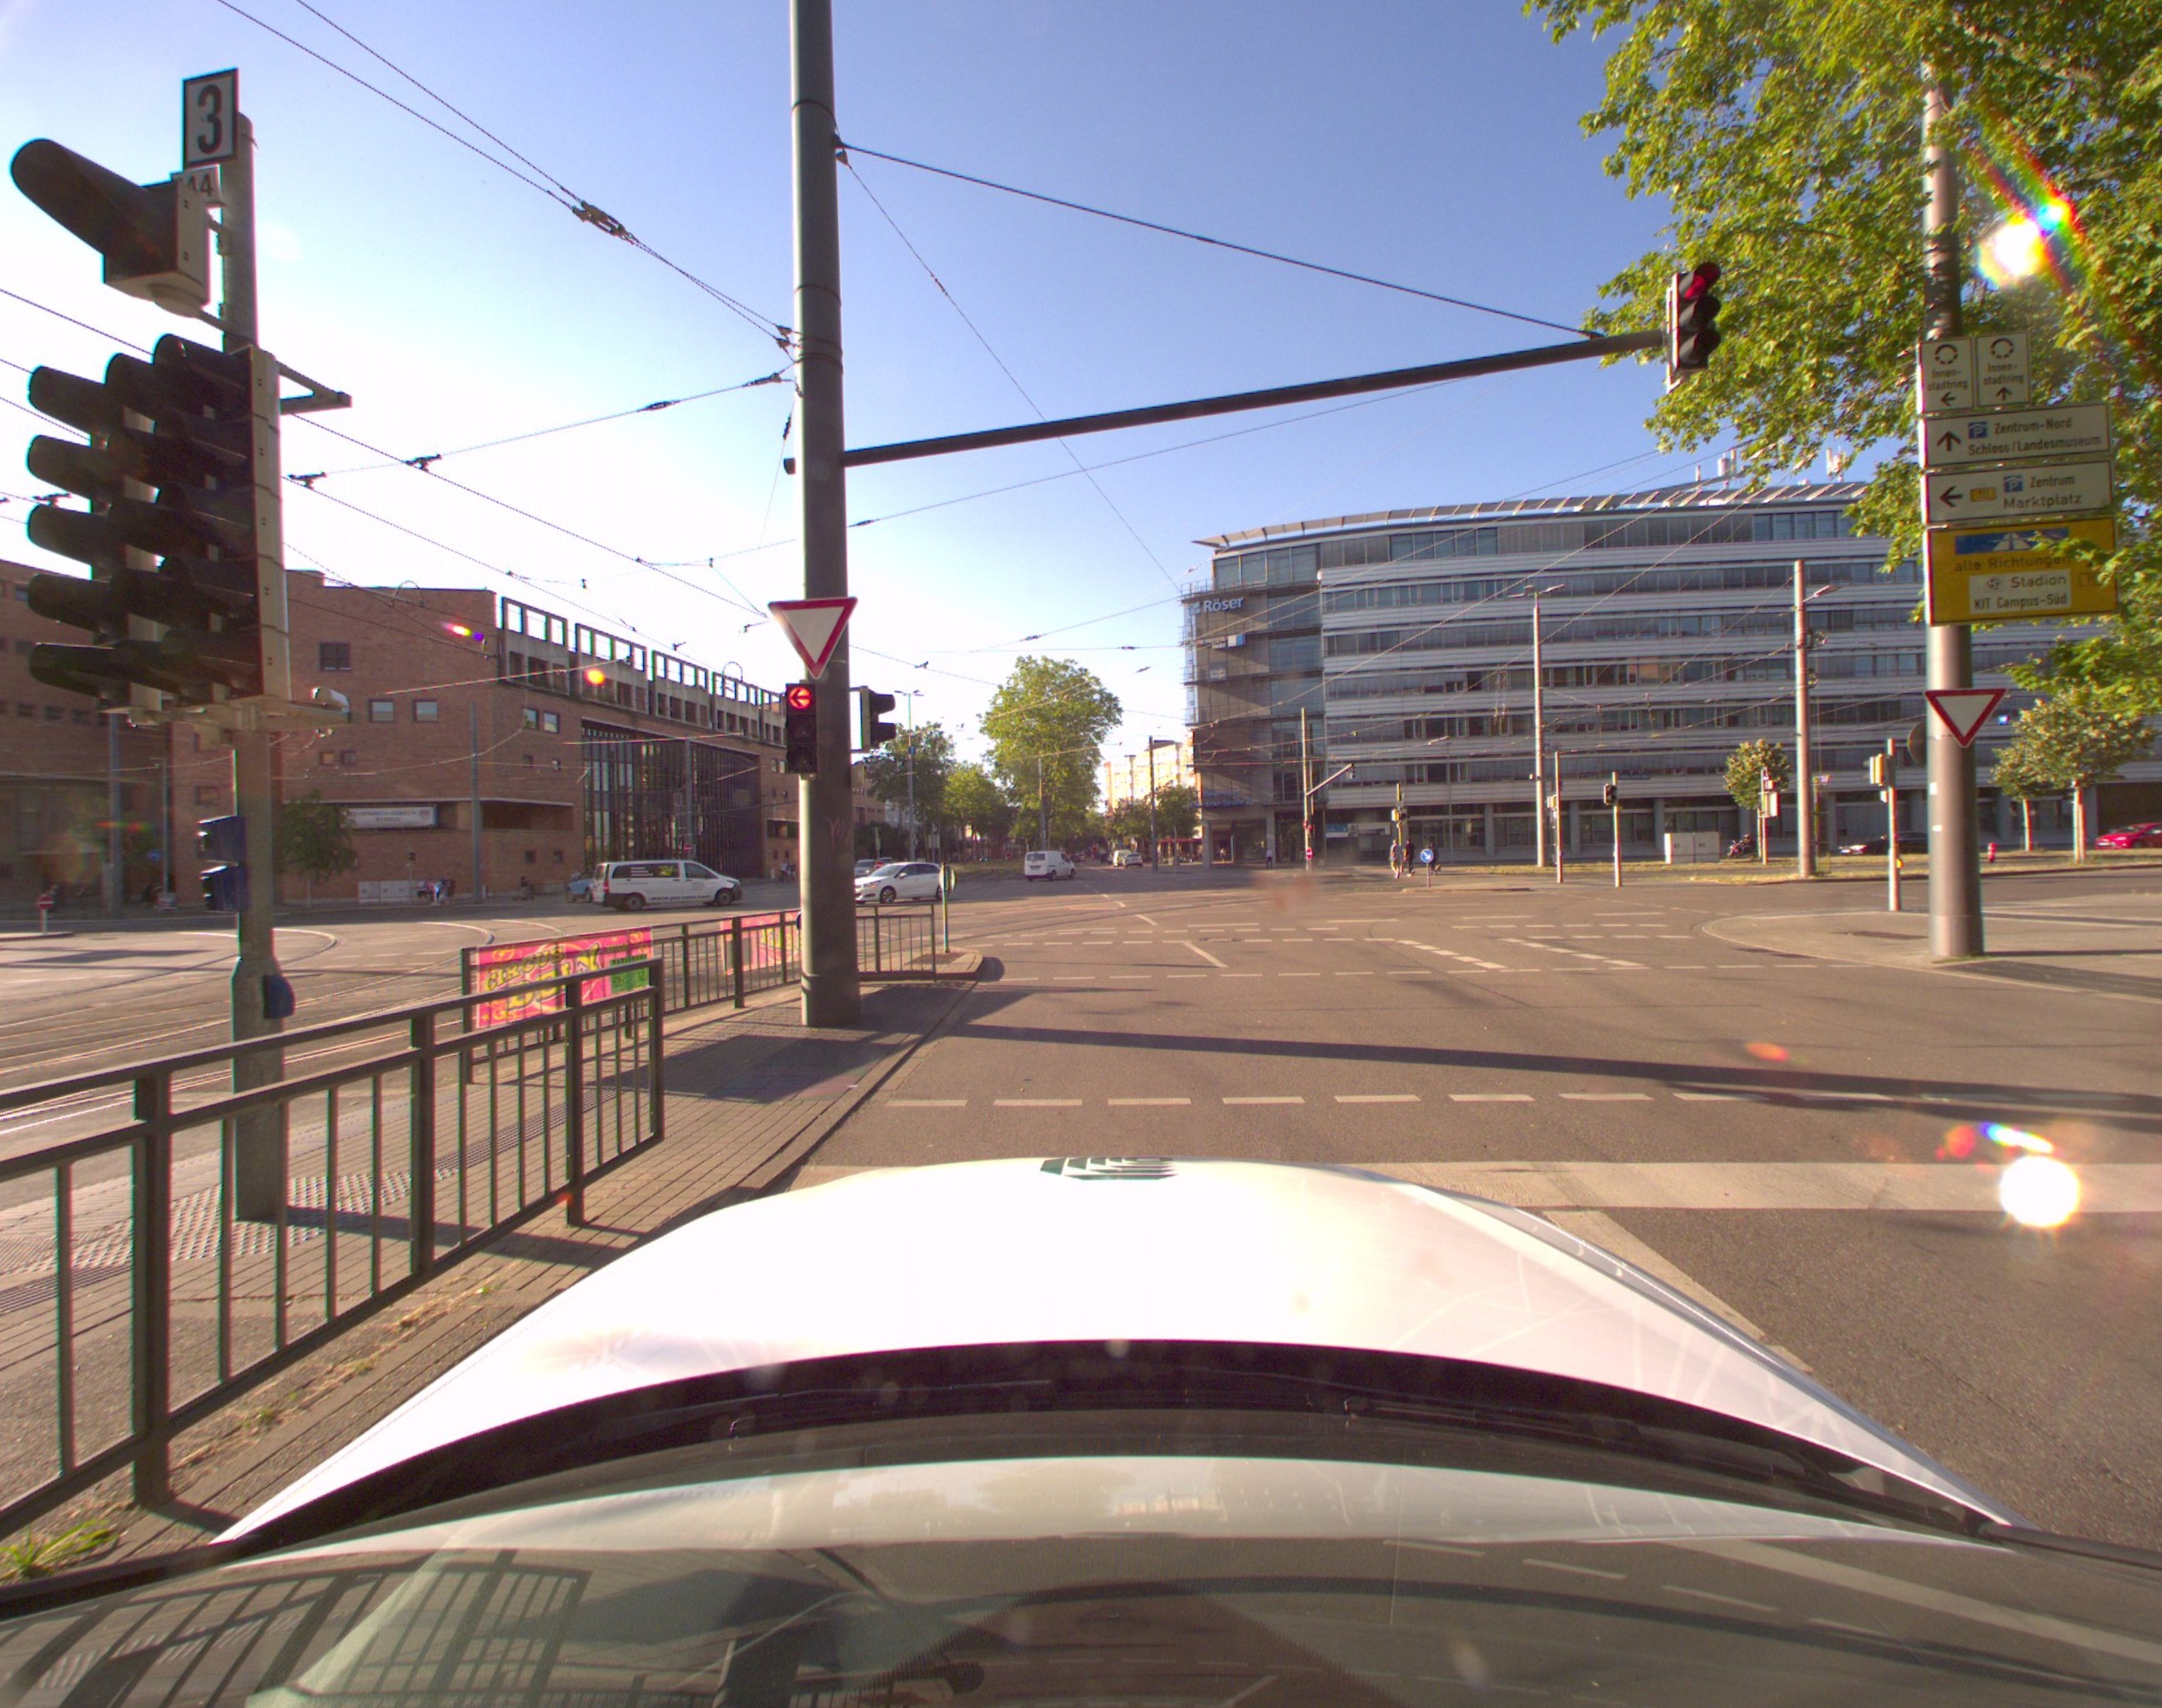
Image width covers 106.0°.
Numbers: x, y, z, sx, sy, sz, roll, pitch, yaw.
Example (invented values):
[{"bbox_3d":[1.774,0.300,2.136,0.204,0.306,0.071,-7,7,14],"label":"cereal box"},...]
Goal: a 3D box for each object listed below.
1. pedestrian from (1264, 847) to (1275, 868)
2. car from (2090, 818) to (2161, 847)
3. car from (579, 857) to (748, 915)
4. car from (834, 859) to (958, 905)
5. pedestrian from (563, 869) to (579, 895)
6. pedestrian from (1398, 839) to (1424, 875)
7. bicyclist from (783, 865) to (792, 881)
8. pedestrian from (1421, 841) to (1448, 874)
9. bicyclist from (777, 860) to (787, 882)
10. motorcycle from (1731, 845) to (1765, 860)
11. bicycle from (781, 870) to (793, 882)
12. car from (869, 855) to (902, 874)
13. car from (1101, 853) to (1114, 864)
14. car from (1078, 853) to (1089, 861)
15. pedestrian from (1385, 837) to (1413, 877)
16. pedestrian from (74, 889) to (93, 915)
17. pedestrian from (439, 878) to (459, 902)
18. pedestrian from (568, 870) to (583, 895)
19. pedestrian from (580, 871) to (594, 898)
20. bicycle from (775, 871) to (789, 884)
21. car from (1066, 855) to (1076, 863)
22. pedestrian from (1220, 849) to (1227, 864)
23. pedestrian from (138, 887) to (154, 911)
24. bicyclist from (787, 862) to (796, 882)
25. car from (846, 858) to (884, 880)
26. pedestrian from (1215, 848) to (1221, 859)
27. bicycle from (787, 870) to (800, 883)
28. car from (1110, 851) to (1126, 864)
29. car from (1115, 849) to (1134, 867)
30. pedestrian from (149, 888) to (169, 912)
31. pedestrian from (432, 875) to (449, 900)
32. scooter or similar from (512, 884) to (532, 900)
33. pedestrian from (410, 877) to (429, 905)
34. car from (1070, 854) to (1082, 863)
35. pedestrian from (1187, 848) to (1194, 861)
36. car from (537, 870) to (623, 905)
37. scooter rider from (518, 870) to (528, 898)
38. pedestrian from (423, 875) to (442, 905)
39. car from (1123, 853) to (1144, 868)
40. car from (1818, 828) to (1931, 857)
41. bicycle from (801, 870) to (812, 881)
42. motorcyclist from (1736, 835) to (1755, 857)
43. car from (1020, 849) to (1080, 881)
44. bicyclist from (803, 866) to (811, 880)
[{"bbox_3d":[14.156,0.273,61.162,0.610,1.507,0.579,-2,0,2],"label":"pedestrian"},{"bbox_3d":[58.911,-1.208,44.900,3.966,1.393,1.789,-4,0,7],"label":"car"},{"bbox_3d":[-15.773,1.149,31.025,5.361,1.848,1.943,-2,0,-44],"label":"car"},{"bbox_3d":[-6.775,0.993,30.239,1.738,1.488,4.337,-2,0,38],"label":"car"},{"bbox_3d":[-33.518,1.831,53.522,0.643,1.683,0.625,-2,0,20],"label":"pedestrian"},{"bbox_3d":[16.127,0.147,39.773,0.907,1.685,1.038,-2,0,9],"label":"pedestrian"},{"bbox_3d":[-25.060,1.620,69.575,0.503,1.304,0.581,-2,0,1],"label":"bicyclist"},{"bbox_3d":[17.179,0.155,39.625,0.943,1.564,0.899,-2,0,9],"label":"pedestrian"},{"bbox_3d":[-24.372,1.355,66.316,0.534,1.731,0.581,-2,0,1],"label":"bicyclist"},{"bbox_3d":[39.200,-0.108,47.870,1.560,0.810,0.468,-2,0,6],"label":"motorcycle"},{"bbox_3d":[-25.043,1.882,69.429,0.466,0.963,1.320,-2,0,2],"label":"bicycle"},{"bbox_3d":[-18.117,0.961,75.534,1.987,1.640,4.001,-2,0,1],"label":"car"},{"bbox_3d":[4.090,0.656,126.784,1.986,1.618,4.002,-2,0,2],"label":"car"},{"bbox_3d":[0.501,0.570,150.934,1.791,1.442,4.002,-2,0,2],"label":"car"},{"bbox_3d":[14.841,0.146,38.012,0.861,1.788,0.871,-2,0,-3],"label":"pedestrian"},{"bbox_3d":[-58.053,2.801,47.390,0.508,1.463,0.466,-2,0,-6],"label":"pedestrian"},{"bbox_3d":[-36.538,2.071,47.099,0.597,1.339,0.684,-2,0,17],"label":"pedestrian"},{"bbox_3d":[-33.946,1.921,54.710,0.567,1.683,0.552,-2,0,19],"label":"pedestrian"},{"bbox_3d":[-32.343,1.997,53.315,0.585,1.683,0.554,-2,0,25],"label":"pedestrian"},{"bbox_3d":[-24.341,1.888,66.318,0.540,0.963,1.587,-2,0,2],"label":"bicycle"},{"bbox_3d":[-1.766,0.955,147.198,1.792,1.442,3.999,0,-1,0],"label":"car"},{"bbox_3d":[14.306,0.237,81.847,0.608,1.507,0.580,-2,0,9],"label":"pedestrian"},{"bbox_3d":[-58.201,2.789,50.696,0.537,1.463,0.584,-2,0,-42],"label":"pedestrian"},{"bbox_3d":[-23.621,1.428,66.532,0.456,1.603,0.581,-2,0,1],"label":"bicyclist"},{"bbox_3d":[-18.007,1.217,67.959,1.987,1.640,4.001,-2,0,1],"label":"car"},{"bbox_3d":[21.688,-0.008,129.097,0.741,1.714,0.612,-2,0,1],"label":"pedestrian"},{"bbox_3d":[-23.454,1.837,66.488,0.471,0.963,1.576,-2,0,2],"label":"bicycle"},{"bbox_3d":[4.818,0.477,105.302,1.986,1.618,4.002,-2,0,2],"label":"car"},{"bbox_3d":[4.742,0.450,89.646,1.986,1.860,4.002,-2,0,2],"label":"car"},{"bbox_3d":[-57.350,2.855,50.667,0.558,1.427,0.555,-2,0,-8],"label":"pedestrian"},{"bbox_3d":[-38.038,1.964,48.364,0.568,1.453,0.612,-2,0,-13],"label":"pedestrian"},{"bbox_3d":[-33.729,2.276,49.156,0.956,0.899,0.173,-2,0,-45],"label":"scooter or similar"},{"bbox_3d":[-38.468,2.137,47.345,0.594,1.614,0.589,-2,0,1],"label":"pedestrian"},{"bbox_3d":[-0.819,0.748,138.199,1.791,1.442,4.002,-2,0,2],"label":"car"},{"bbox_3d":[14.125,0.087,104.859,0.741,1.714,0.612,-2,0,1],"label":"pedestrian"},{"bbox_3d":[-24.885,1.659,40.440,3.673,1.575,2.015,-2,0,28],"label":"car"},{"bbox_3d":[-33.712,1.804,49.190,0.441,1.647,0.226,-2,0,-44],"label":"scooter rider"},{"bbox_3d":[-37.553,2.079,47.157,0.597,1.648,0.549,-2,0,1],"label":"pedestrian"},{"bbox_3d":[5.288,0.621,82.829,1.986,1.376,4.002,-2,0,2],"label":"car"},{"bbox_3d":[42.948,-0.608,44.172,4.136,1.398,1.789,-2,0,7],"label":"car"},{"bbox_3d":[-24.330,1.906,72.279,0.449,0.963,1.348,-2,0,2],"label":"bicycle"},{"bbox_3d":[39.077,-0.483,47.881,0.708,1.275,0.460,-2,0,5],"label":"motorcyclist"},{"bbox_3d":[-1.895,0.667,51.308,1.739,1.867,4.552,-2,0,26],"label":"car"},{"bbox_3d":[-24.338,1.695,72.289,0.503,1.179,0.581,-2,0,1],"label":"bicyclist"}]
